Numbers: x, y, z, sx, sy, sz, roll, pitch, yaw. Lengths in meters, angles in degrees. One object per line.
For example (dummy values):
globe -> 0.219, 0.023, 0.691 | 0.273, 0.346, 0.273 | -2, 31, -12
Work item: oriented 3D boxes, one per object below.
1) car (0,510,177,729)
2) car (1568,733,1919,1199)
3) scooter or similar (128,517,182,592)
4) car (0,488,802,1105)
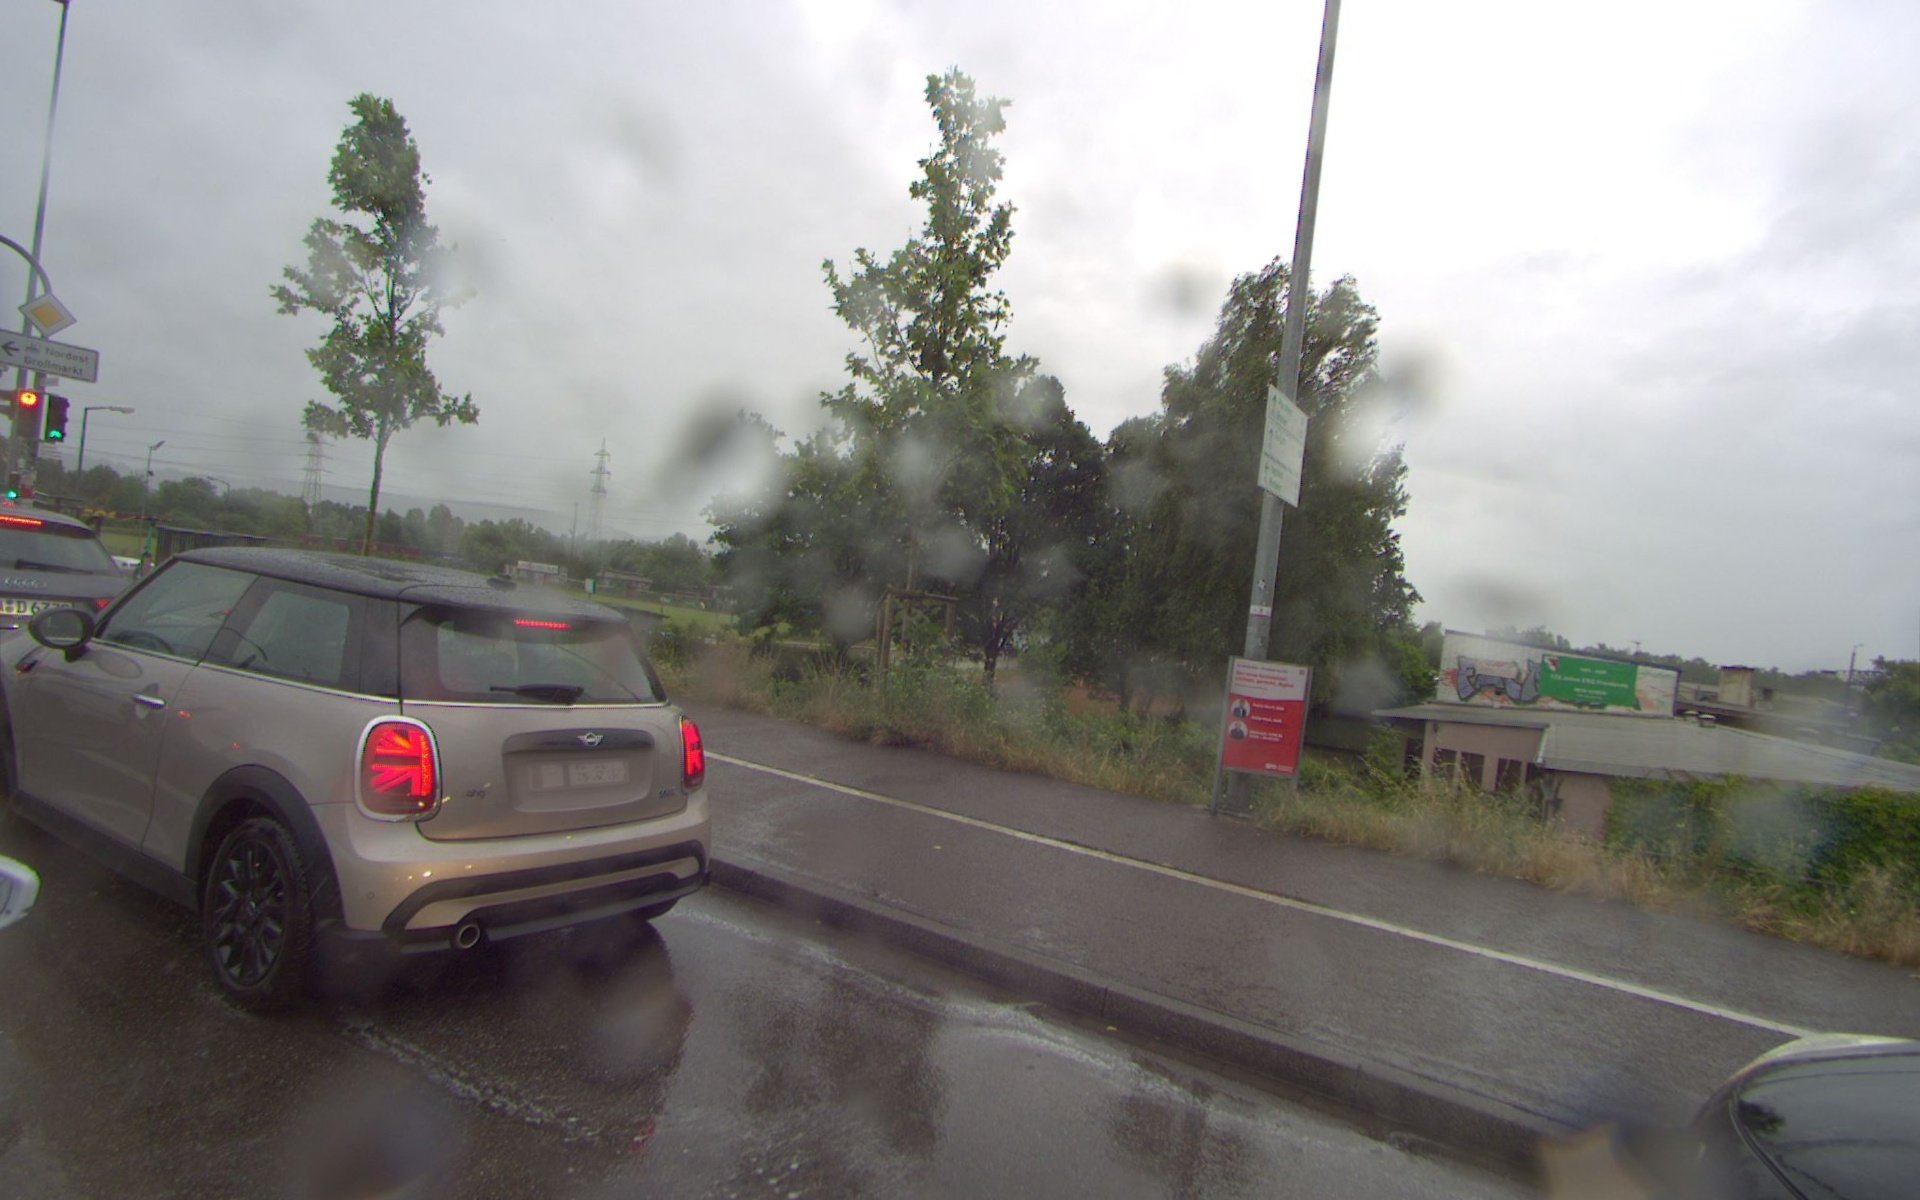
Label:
car -> -7.487, -0.035, 7.238 | 3.563, 1.360, 1.632 | 6, -2, 31
car -> 2.801, 1.183, 1.054 | 3.563, 1.445, 1.632 | 7, -1, 31
scooter or similar -> -13.632, -0.779, 17.026 | 1.167, 1.171, 0.246 | 6, -1, 33
car -> -2.694, 0.491, 4.334 | 3.563, 1.525, 1.717 | 7, -2, 31
